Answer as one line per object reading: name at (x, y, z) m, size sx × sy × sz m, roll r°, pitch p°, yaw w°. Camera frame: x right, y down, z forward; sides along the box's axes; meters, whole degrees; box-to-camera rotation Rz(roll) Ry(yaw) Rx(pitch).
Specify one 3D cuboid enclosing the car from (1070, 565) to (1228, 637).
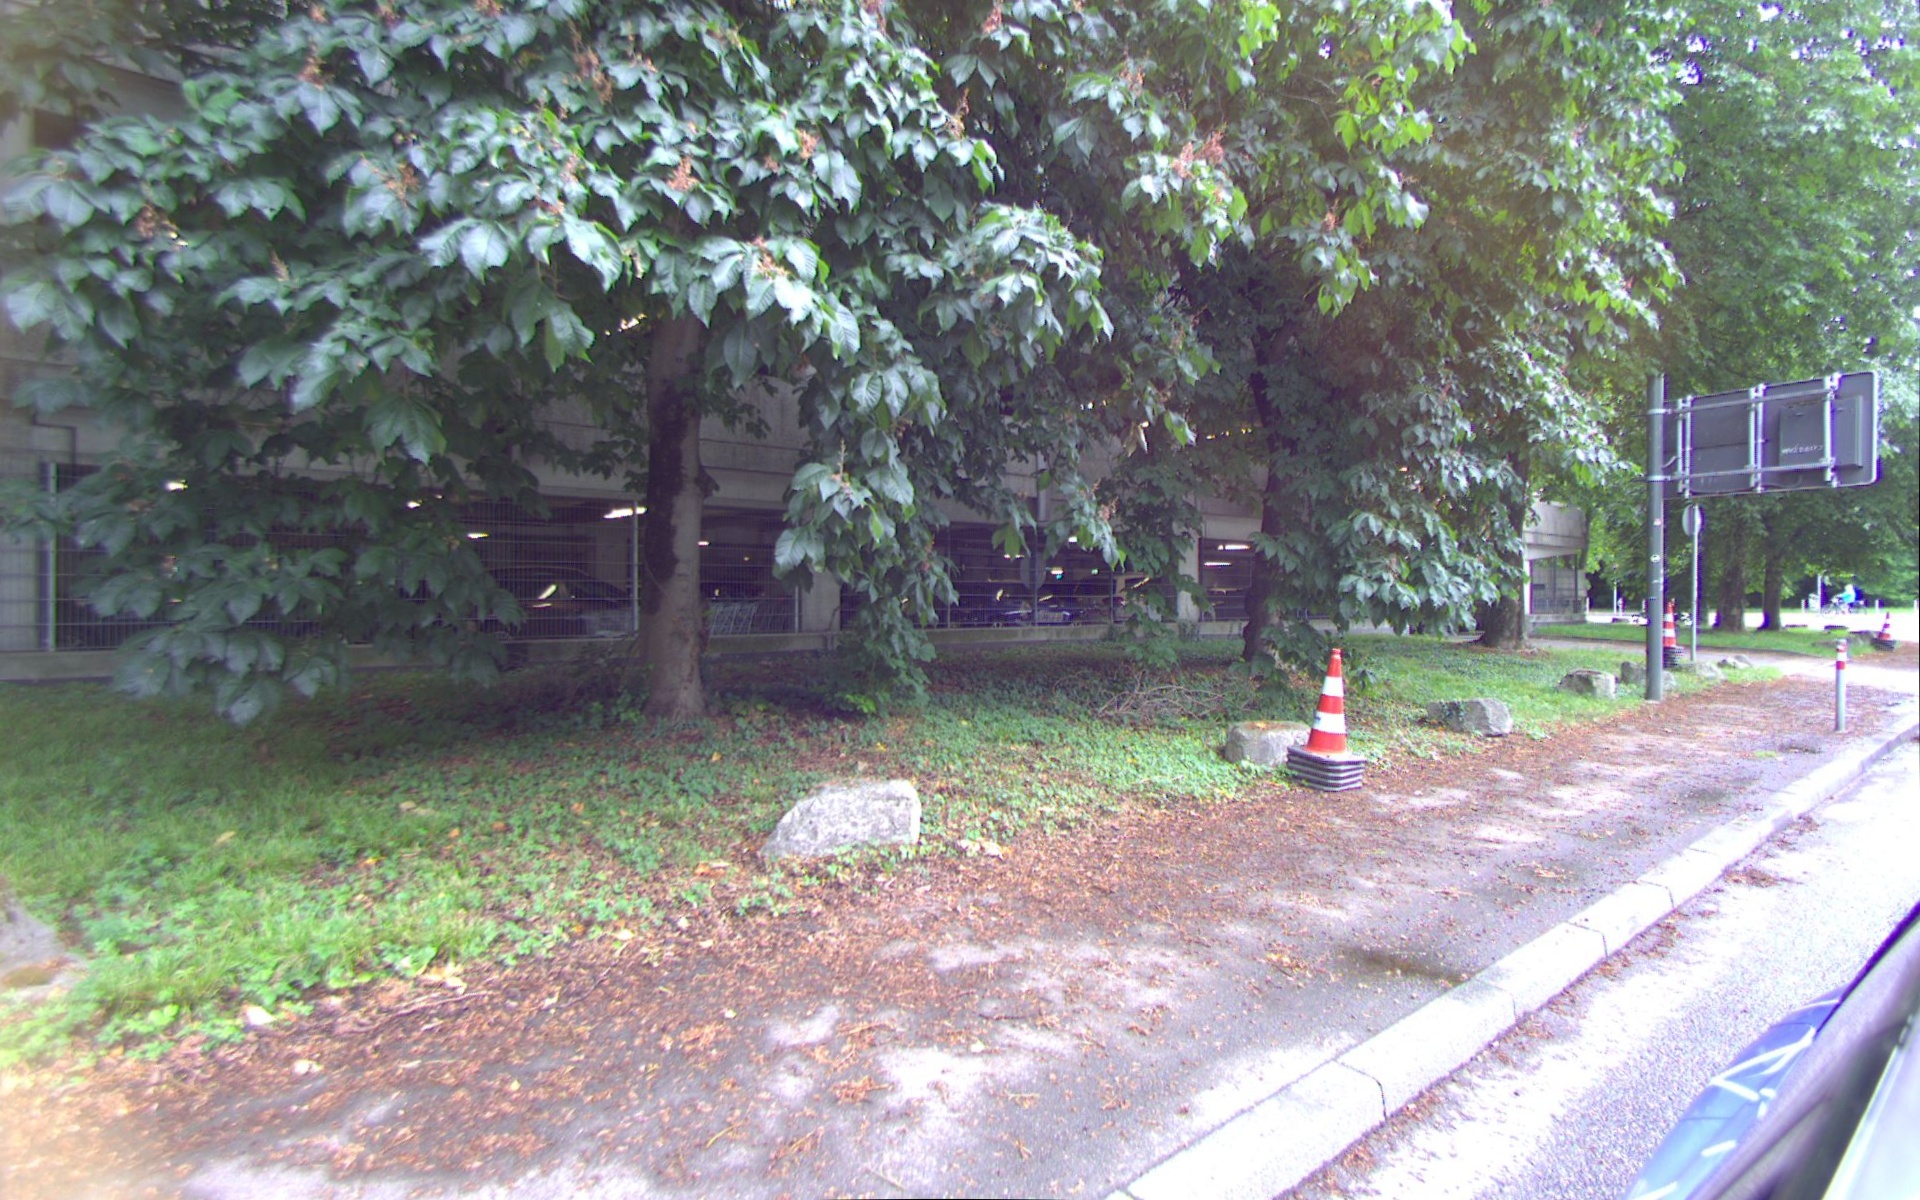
car at (5.075, -0.020, 26.821) m, size 4.587 × 1.730 × 1.588 m, roll -2°, pitch 0°, yaw -41°

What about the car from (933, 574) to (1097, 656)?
car at (1.352, 0.302, 23.808) m, size 3.791 × 1.730 × 1.588 m, roll -2°, pitch 0°, yaw -41°

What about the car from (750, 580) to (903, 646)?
car at (-3.450, 0.300, 26.544) m, size 3.639 × 1.565 × 1.718 m, roll -2°, pitch 1°, yaw -42°

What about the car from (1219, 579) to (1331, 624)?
car at (11.261, 0.022, 36.068) m, size 3.927 × 1.471 × 1.876 m, roll -2°, pitch 1°, yaw -38°

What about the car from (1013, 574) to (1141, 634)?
car at (3.448, 0.092, 29.415) m, size 3.629 × 1.606 × 1.718 m, roll -2°, pitch 0°, yaw -42°

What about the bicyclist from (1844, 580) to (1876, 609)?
bicyclist at (45.960, -0.298, 51.698) m, size 0.731 × 1.448 × 1.156 m, roll -1°, pitch 0°, yaw -44°

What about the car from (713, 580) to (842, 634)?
car at (-5.716, 0.186, 31.861) m, size 3.638 × 1.565 × 1.719 m, roll -2°, pitch 0°, yaw -41°

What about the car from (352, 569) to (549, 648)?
car at (-11.444, 0.145, 22.848) m, size 3.639 × 1.627 × 1.718 m, roll -2°, pitch 0°, yaw -42°

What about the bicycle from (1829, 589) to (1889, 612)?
bicycle at (45.939, 0.020, 51.734) m, size 0.736 × 1.137 × 2.252 m, roll -2°, pitch 0°, yaw -44°

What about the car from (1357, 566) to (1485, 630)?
car at (14.544, -0.073, 31.809) m, size 4.653 × 1.858 × 1.922 m, roll -1°, pitch 0°, yaw -41°

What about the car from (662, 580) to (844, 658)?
car at (-4.589, 0.370, 22.701) m, size 3.639 × 1.565 × 1.718 m, roll -2°, pitch 1°, yaw -42°

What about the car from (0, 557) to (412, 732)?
car at (-10.333, 0.478, 13.897) m, size 4.594 × 2.039 × 1.996 m, roll -2°, pitch 0°, yaw -41°

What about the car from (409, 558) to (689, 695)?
car at (-6.872, 0.351, 17.083) m, size 3.929 × 2.039 × 1.997 m, roll -2°, pitch 0°, yaw -40°

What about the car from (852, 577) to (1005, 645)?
car at (-0.762, 0.234, 25.801) m, size 3.639 × 1.565 × 1.718 m, roll -2°, pitch 1°, yaw -42°

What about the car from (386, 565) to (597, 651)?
car at (-9.756, 0.115, 21.204) m, size 3.639 × 1.627 × 1.718 m, roll -2°, pitch 0°, yaw -42°
